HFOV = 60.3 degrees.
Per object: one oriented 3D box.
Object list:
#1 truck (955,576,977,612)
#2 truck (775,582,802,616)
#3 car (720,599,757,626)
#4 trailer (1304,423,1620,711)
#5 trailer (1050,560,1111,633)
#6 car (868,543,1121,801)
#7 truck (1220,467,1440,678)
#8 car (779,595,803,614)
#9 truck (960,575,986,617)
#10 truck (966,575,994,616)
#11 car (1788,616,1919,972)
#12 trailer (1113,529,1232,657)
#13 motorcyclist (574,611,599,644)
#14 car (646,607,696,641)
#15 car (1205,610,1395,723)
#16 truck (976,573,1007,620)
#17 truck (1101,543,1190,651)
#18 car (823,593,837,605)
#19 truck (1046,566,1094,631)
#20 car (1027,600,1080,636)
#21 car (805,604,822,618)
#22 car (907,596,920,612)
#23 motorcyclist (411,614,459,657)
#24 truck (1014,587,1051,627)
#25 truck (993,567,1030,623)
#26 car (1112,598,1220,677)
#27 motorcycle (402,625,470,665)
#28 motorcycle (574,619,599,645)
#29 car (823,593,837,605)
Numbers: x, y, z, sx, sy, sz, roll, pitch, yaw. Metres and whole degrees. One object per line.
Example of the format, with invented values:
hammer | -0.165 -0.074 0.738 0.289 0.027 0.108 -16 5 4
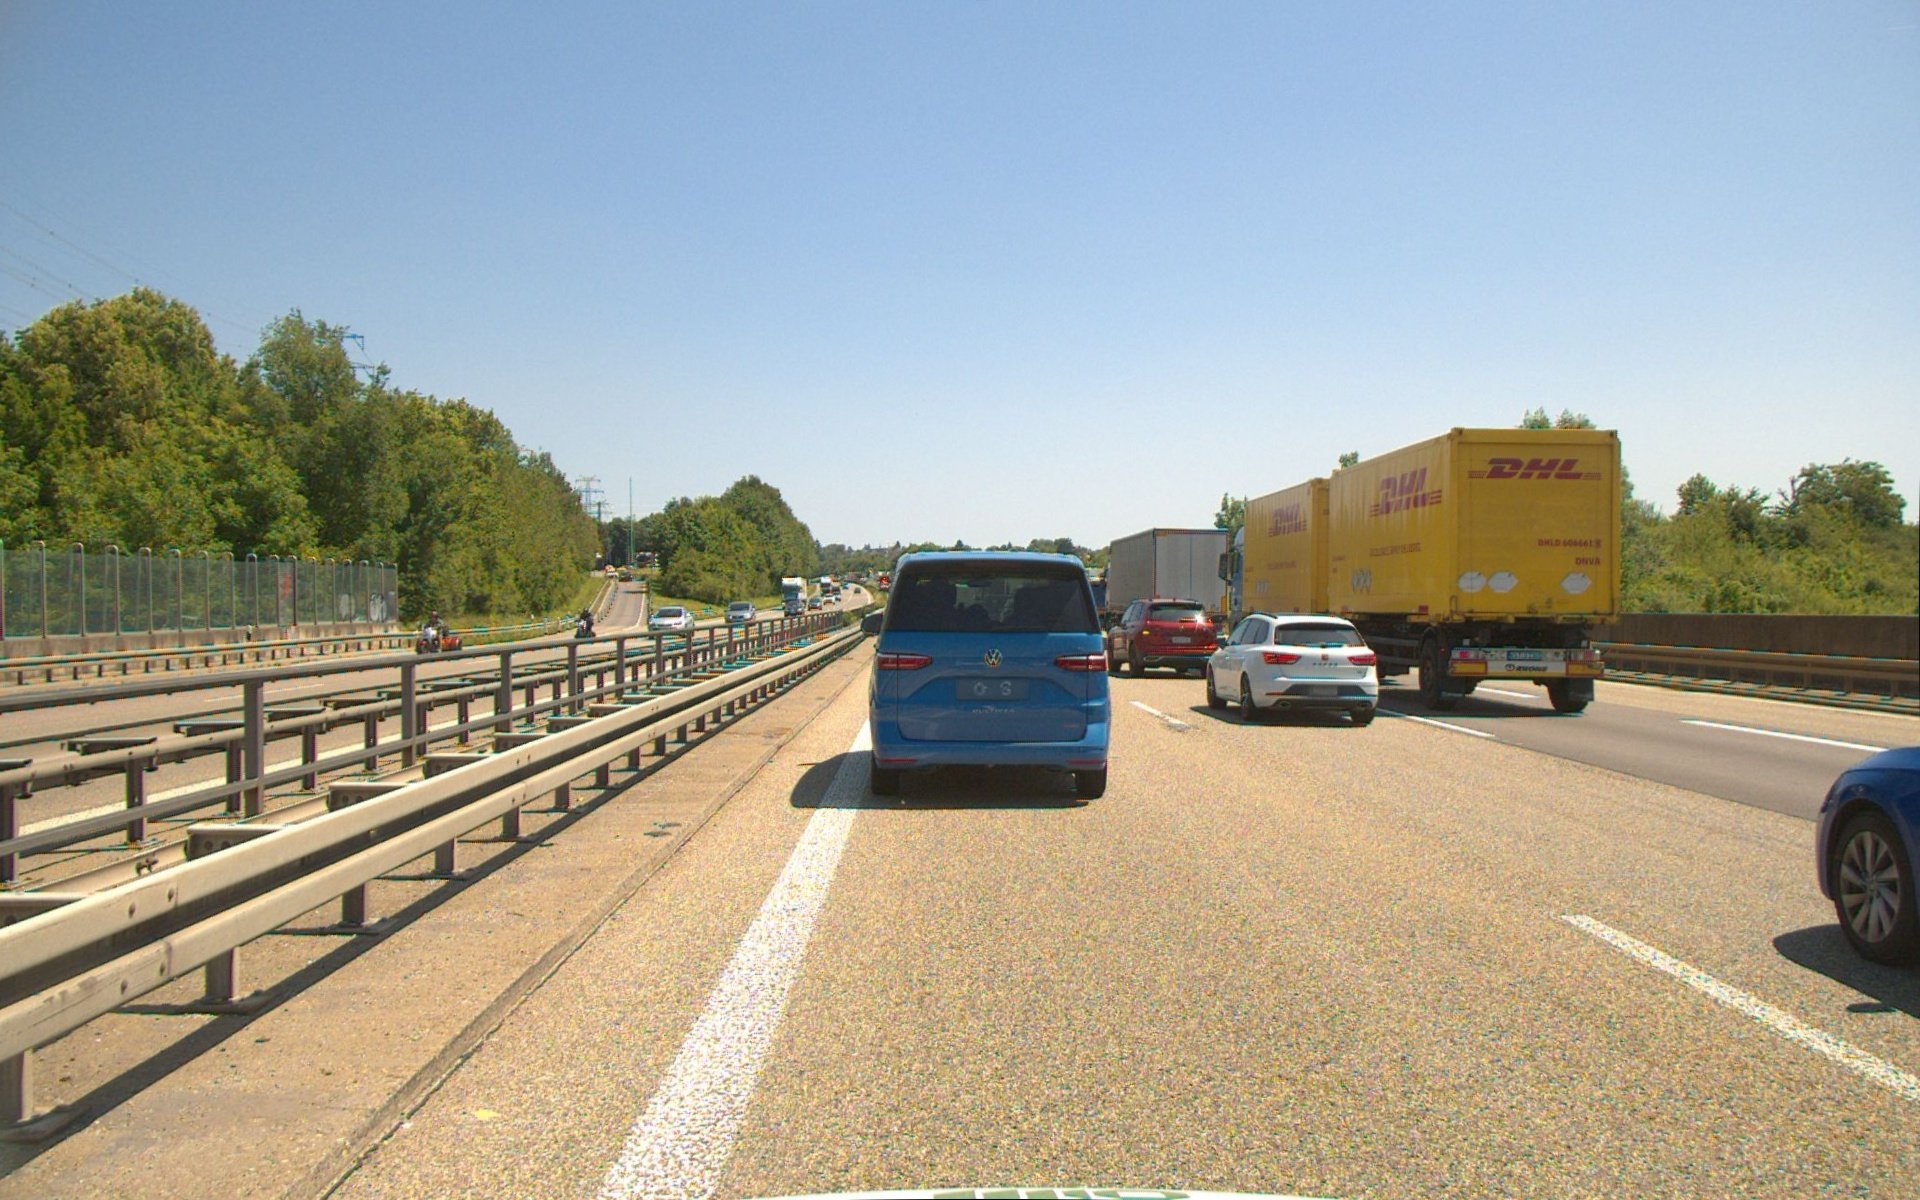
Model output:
truck | 0.832 -0.829 249.192 2.777 5.128 12.906 1 -1 -2
truck | -22.568 -0.123 217.751 2.928 4.354 7.186 -1 0 -1
car | -14.282 0.800 106.816 1.793 1.637 4.167 -3 0 -1
trailer | 8.145 -0.422 28.228 2.646 4.094 8.929 1 -1 0
trailer | 6.686 -0.122 93.339 2.331 3.810 11.184 1 -1 -1
car | 0.229 0.529 14.053 1.844 1.869 3.999 0 0 -1
truck | 8.135 -0.485 37.880 2.666 4.125 10.334 1 -1 0
car | -15.566 0.444 152.764 1.792 1.637 4.167 -3 0 -1
truck | 1.717 -0.501 225.453 2.777 5.467 12.548 1 -1 -2
truck | 2.480 -0.480 207.456 2.777 4.972 13.213 1 -1 -2
car | 4.825 0.812 5.705 1.675 1.465 4.500 0 0 0
trailer | 7.620 -0.179 60.855 2.699 4.219 11.309 1 -1 -1
motorcyclist | -17.366 1.271 76.909 0.880 1.466 1.082 -1 1 -2
car | -13.690 1.111 78.500 1.680 1.459 4.174 -3 0 -1
car | 4.634 0.858 23.091 1.745 1.411 4.187 0 0 -1
truck | 3.481 -0.302 185.857 2.777 5.128 11.810 1 -1 -2
truck | 7.535 -0.086 67.898 2.712 4.167 6.982 1 -1 -1
car | -20.400 -0.149 258.669 1.883 1.718 4.120 -3 0 -1
truck | 6.562 -0.056 99.336 2.320 3.787 6.031 1 -1 -1
car | 3.818 0.716 68.137 1.801 1.438 3.998 0 0 -2
car | -17.828 1.386 201.327 1.792 1.637 4.167 -1 0 -1
car | -6.118 0.533 219.346 1.704 1.944 3.680 1 -1 -1
motorcyclist | -16.744 1.122 52.778 1.162 1.278 1.118 -3 0 -1
truck | 6.155 0.618 141.219 2.308 3.275 9.736 1 -1 -2
truck | 4.879 -0.402 158.508 2.777 5.128 11.140 1 -1 -2
car | 4.421 0.776 35.968 1.813 1.636 3.999 0 0 -1
motorcycle | -16.722 1.423 52.883 1.338 1.118 2.575 -3 0 -1
motorcycle | -17.353 1.468 76.878 0.687 1.089 2.305 -1 1 -1
car | -20.387 -0.161 258.524 1.883 1.718 4.120 -3 0 -1
